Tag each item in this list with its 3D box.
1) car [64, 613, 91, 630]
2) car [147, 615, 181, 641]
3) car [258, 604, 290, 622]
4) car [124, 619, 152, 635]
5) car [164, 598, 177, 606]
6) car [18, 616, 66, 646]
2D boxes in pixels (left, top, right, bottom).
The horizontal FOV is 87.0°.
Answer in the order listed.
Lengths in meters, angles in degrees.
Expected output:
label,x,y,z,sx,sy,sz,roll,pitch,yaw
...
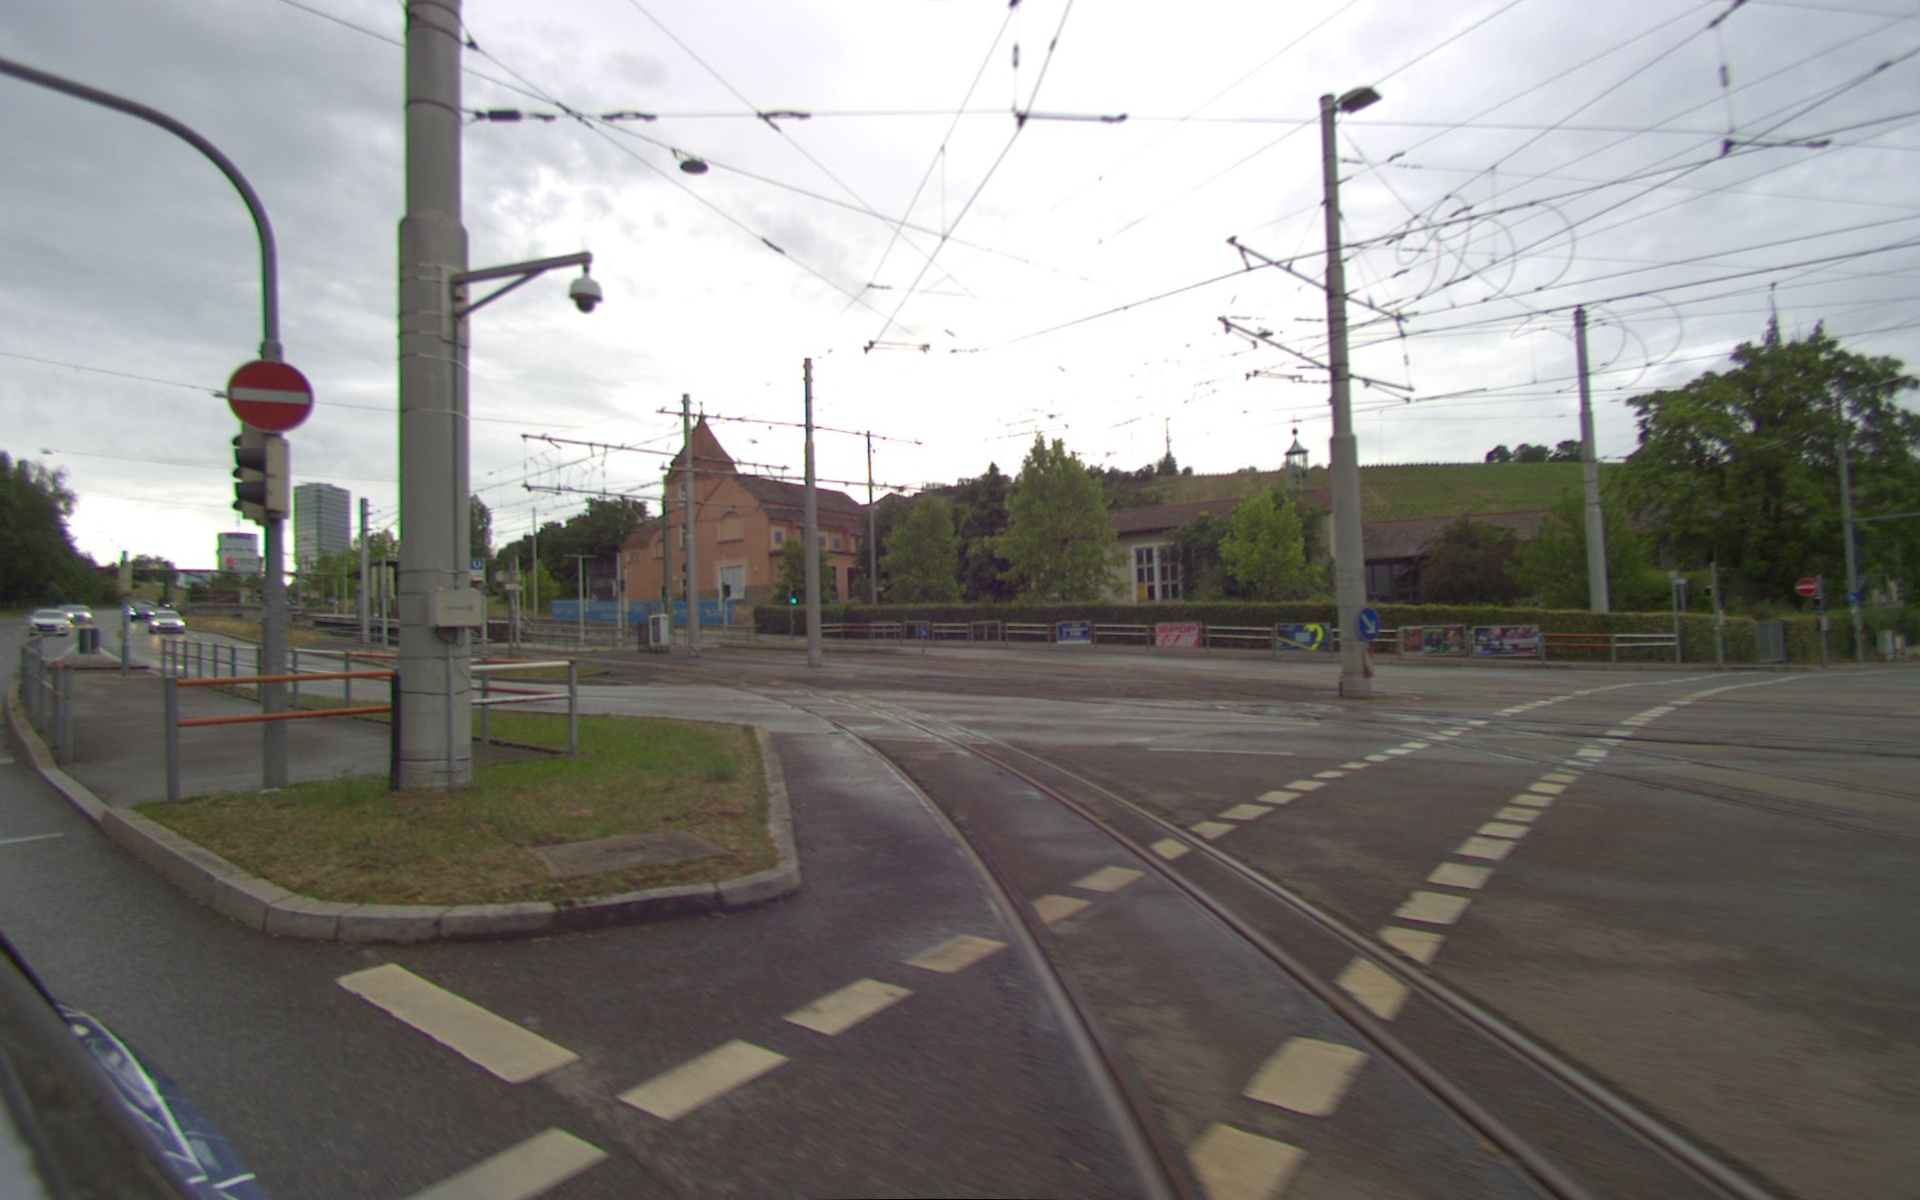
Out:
label,x,y,z,sx,sy,sz,roll,pitch,yaw
car,-77.463,1.877,88.808,1.775,1.482,4.005,1,-1,-42
car,-52.165,1.818,66.351,1.712,1.600,4.008,1,-1,-38
car,-68.145,1.317,100.482,4.000,1.523,1.777,-5,-4,43
car,-78.772,2.591,96.926,1.776,1.482,4.003,1,-1,-44
car,-144.927,0.355,185.857,1.773,1.482,4.009,1,-1,-36
car,-52.558,1.756,58.014,1.712,1.600,4.008,1,-1,-38
